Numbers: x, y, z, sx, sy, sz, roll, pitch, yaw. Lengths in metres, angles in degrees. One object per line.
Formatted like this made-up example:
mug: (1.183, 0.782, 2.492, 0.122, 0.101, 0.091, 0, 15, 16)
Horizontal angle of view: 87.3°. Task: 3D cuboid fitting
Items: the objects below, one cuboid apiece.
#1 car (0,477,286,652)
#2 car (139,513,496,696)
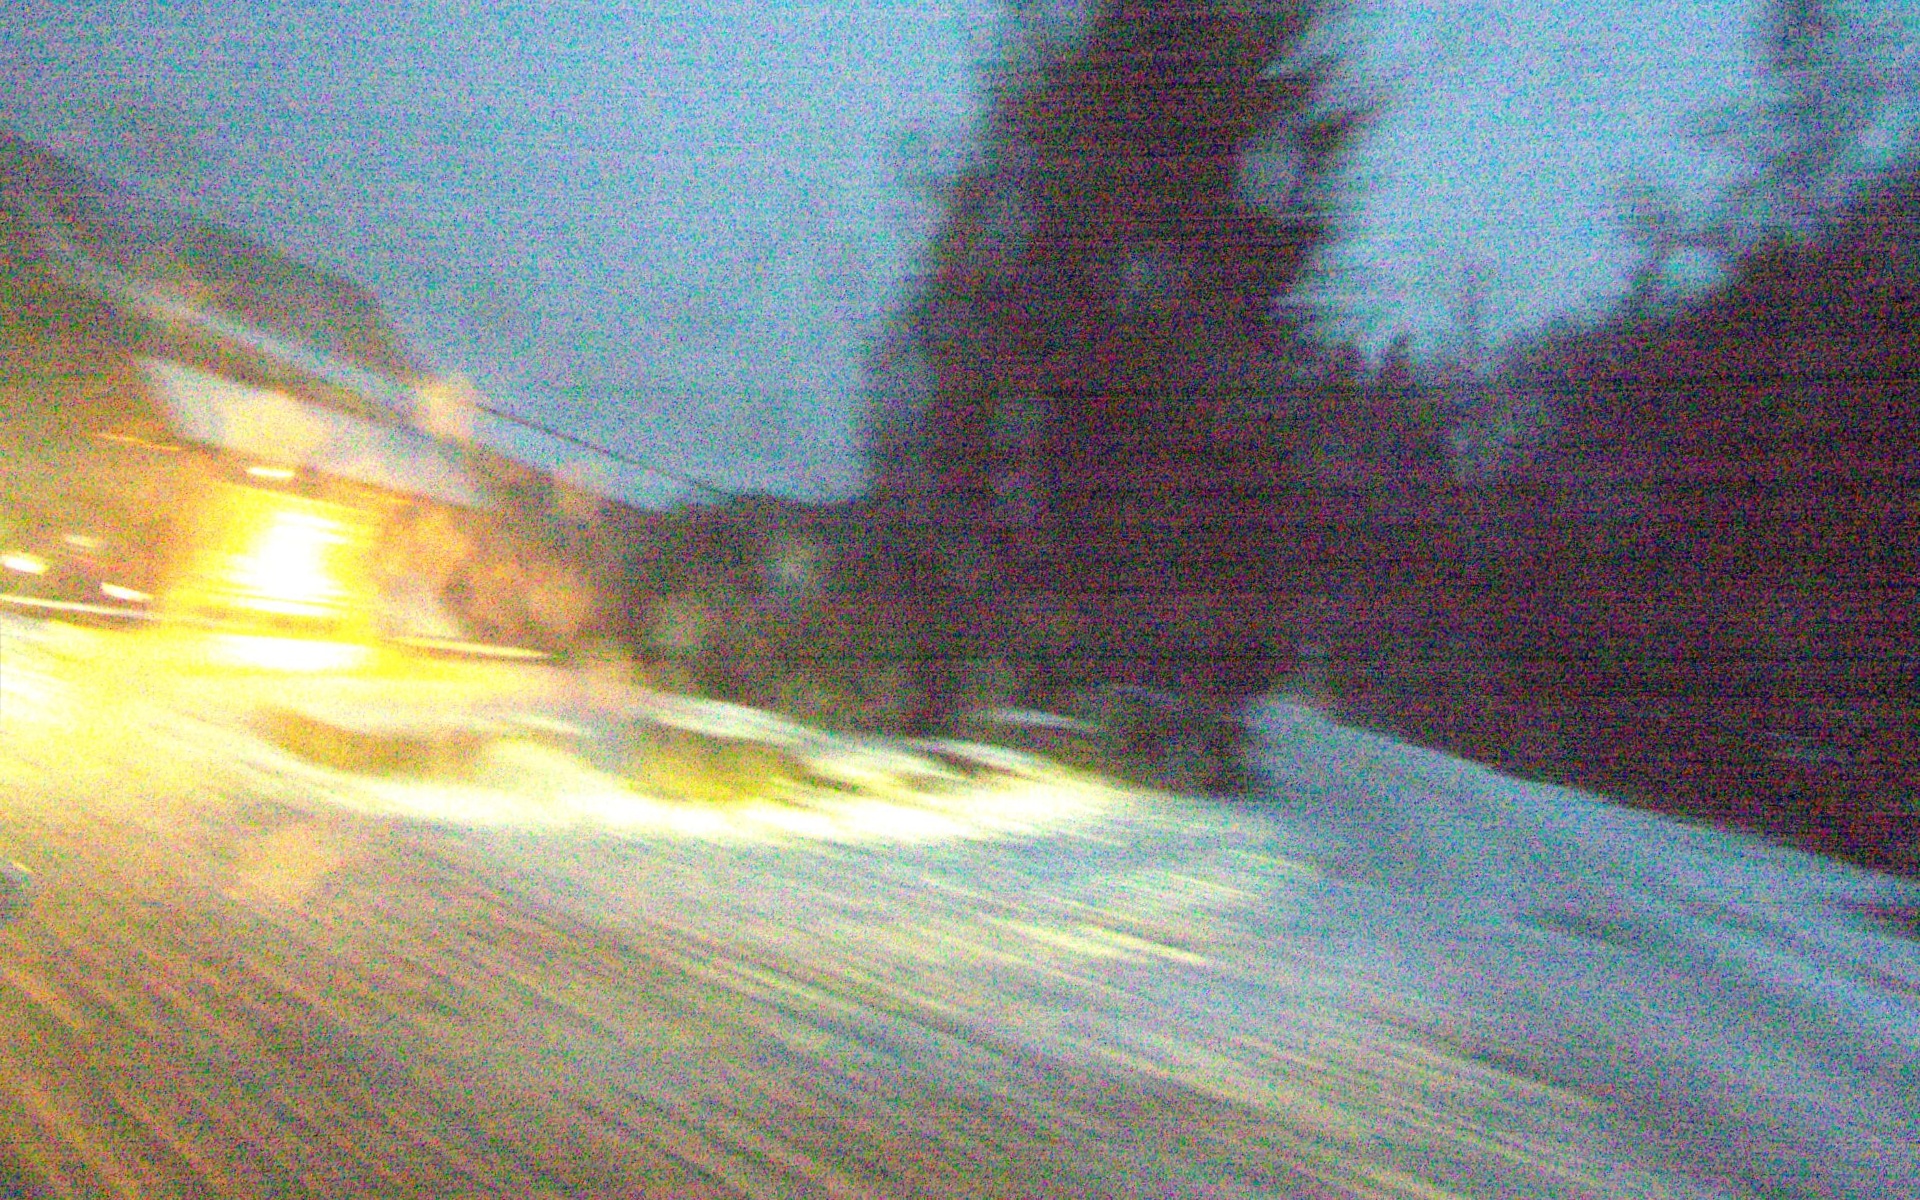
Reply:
car: (-13.072, -0.565, 15.742, 4.310, 2.062, 1.887, 7, -3, 22)
car: (-8.767, 0.076, 13.778, 4.079, 1.829, 1.887, 7, -3, 21)
